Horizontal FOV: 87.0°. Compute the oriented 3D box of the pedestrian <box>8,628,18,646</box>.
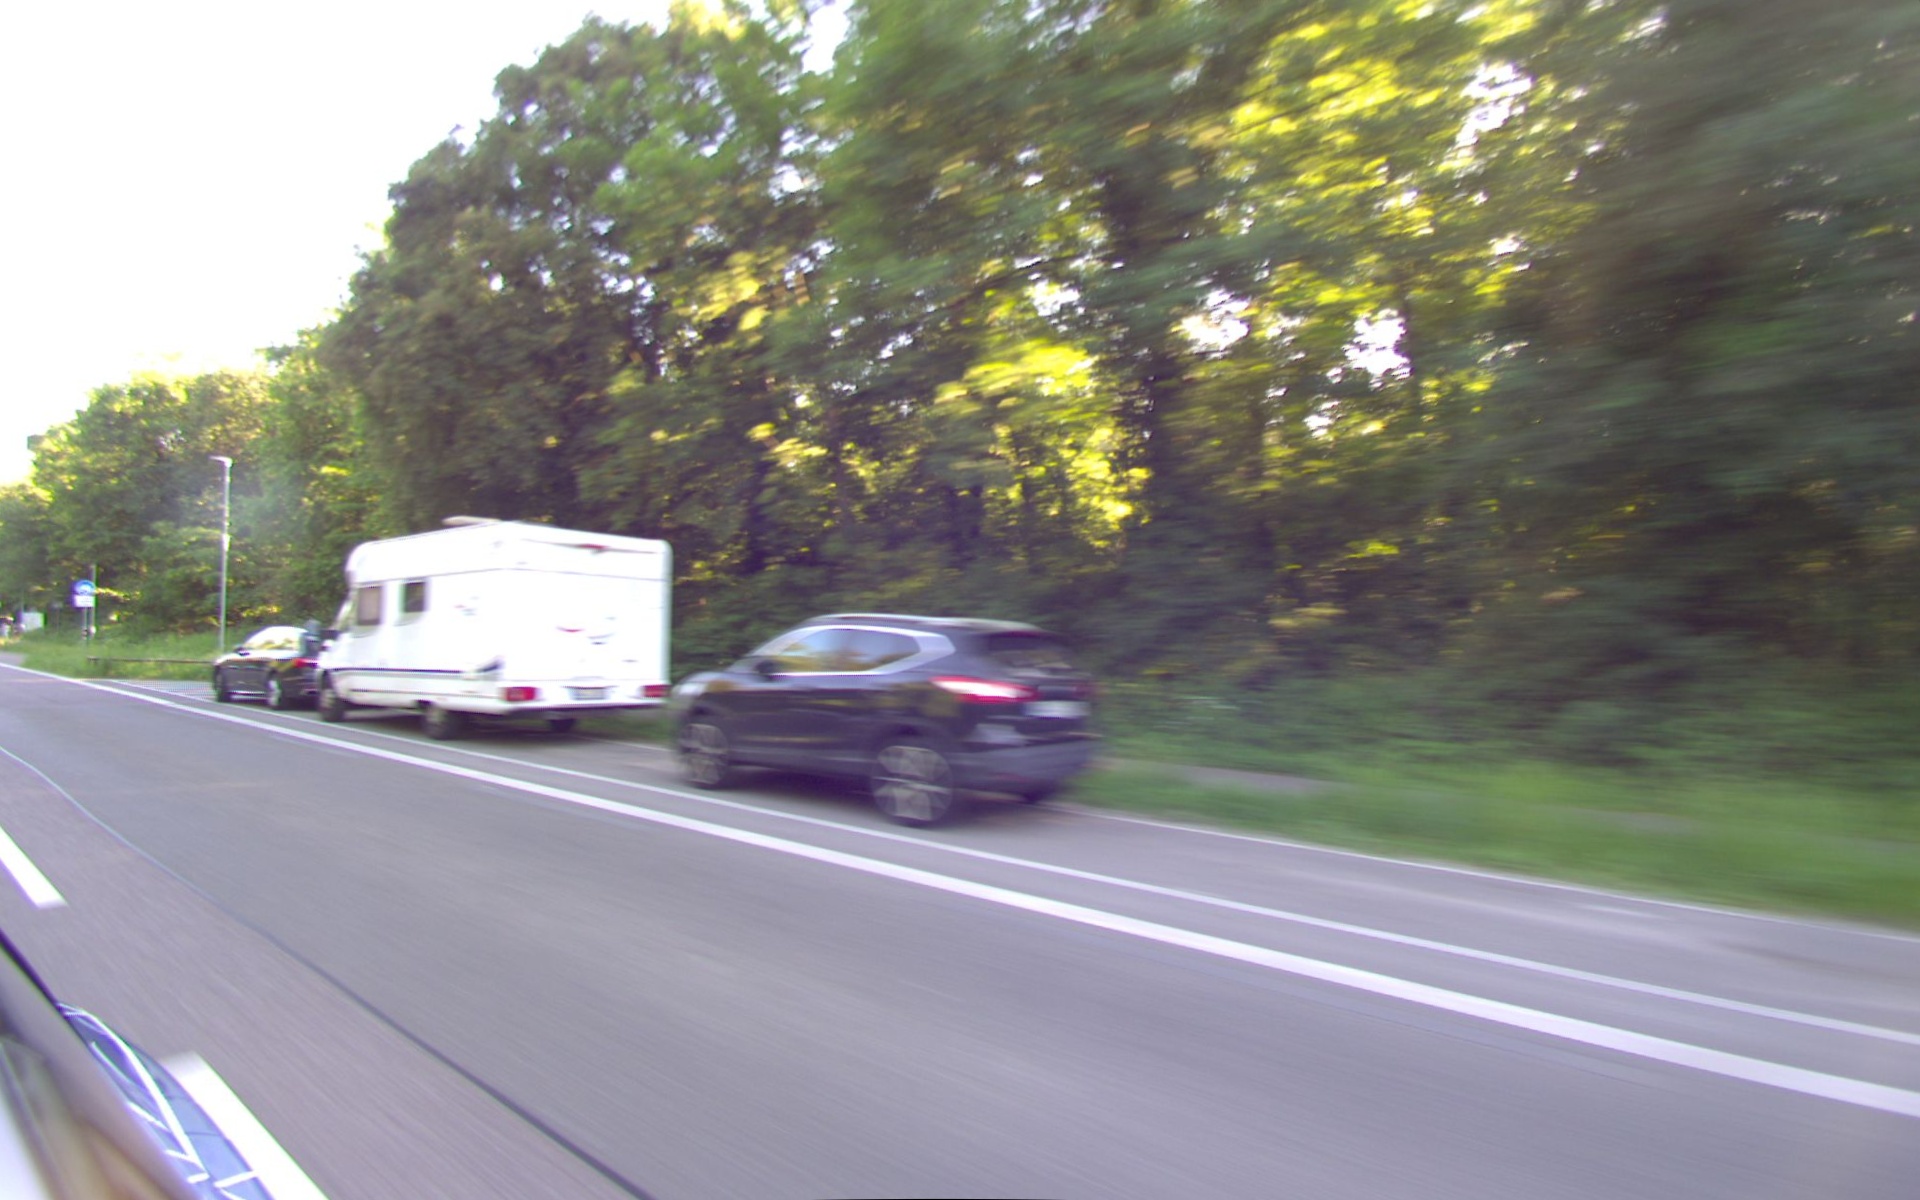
[{"bbox_3d":[-86.730,3.372,92.665,0.667,1.666,0.790,1,-2,-45],"label":"pedestrian"}]

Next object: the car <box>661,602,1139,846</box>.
[{"bbox_3d":[-0.706,0.912,8.869,4.271,1.644,1.628,-1,-4,41],"label":"car"}]

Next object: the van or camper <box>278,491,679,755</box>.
[{"bbox_3d":[-7.208,0.373,14.630,7.103,2.993,2.292,-1,-4,39],"label":"van or camper"}]

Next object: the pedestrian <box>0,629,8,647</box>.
[{"bbox_3d":[-87.201,3.474,92.183,0.667,1.666,0.790,1,-2,-45],"label":"pedestrian"}]

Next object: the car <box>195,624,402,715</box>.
[{"bbox_3d":[-12.420,1.221,18.881,4.674,1.487,1.809,-1,-3,38],"label":"car"}]
